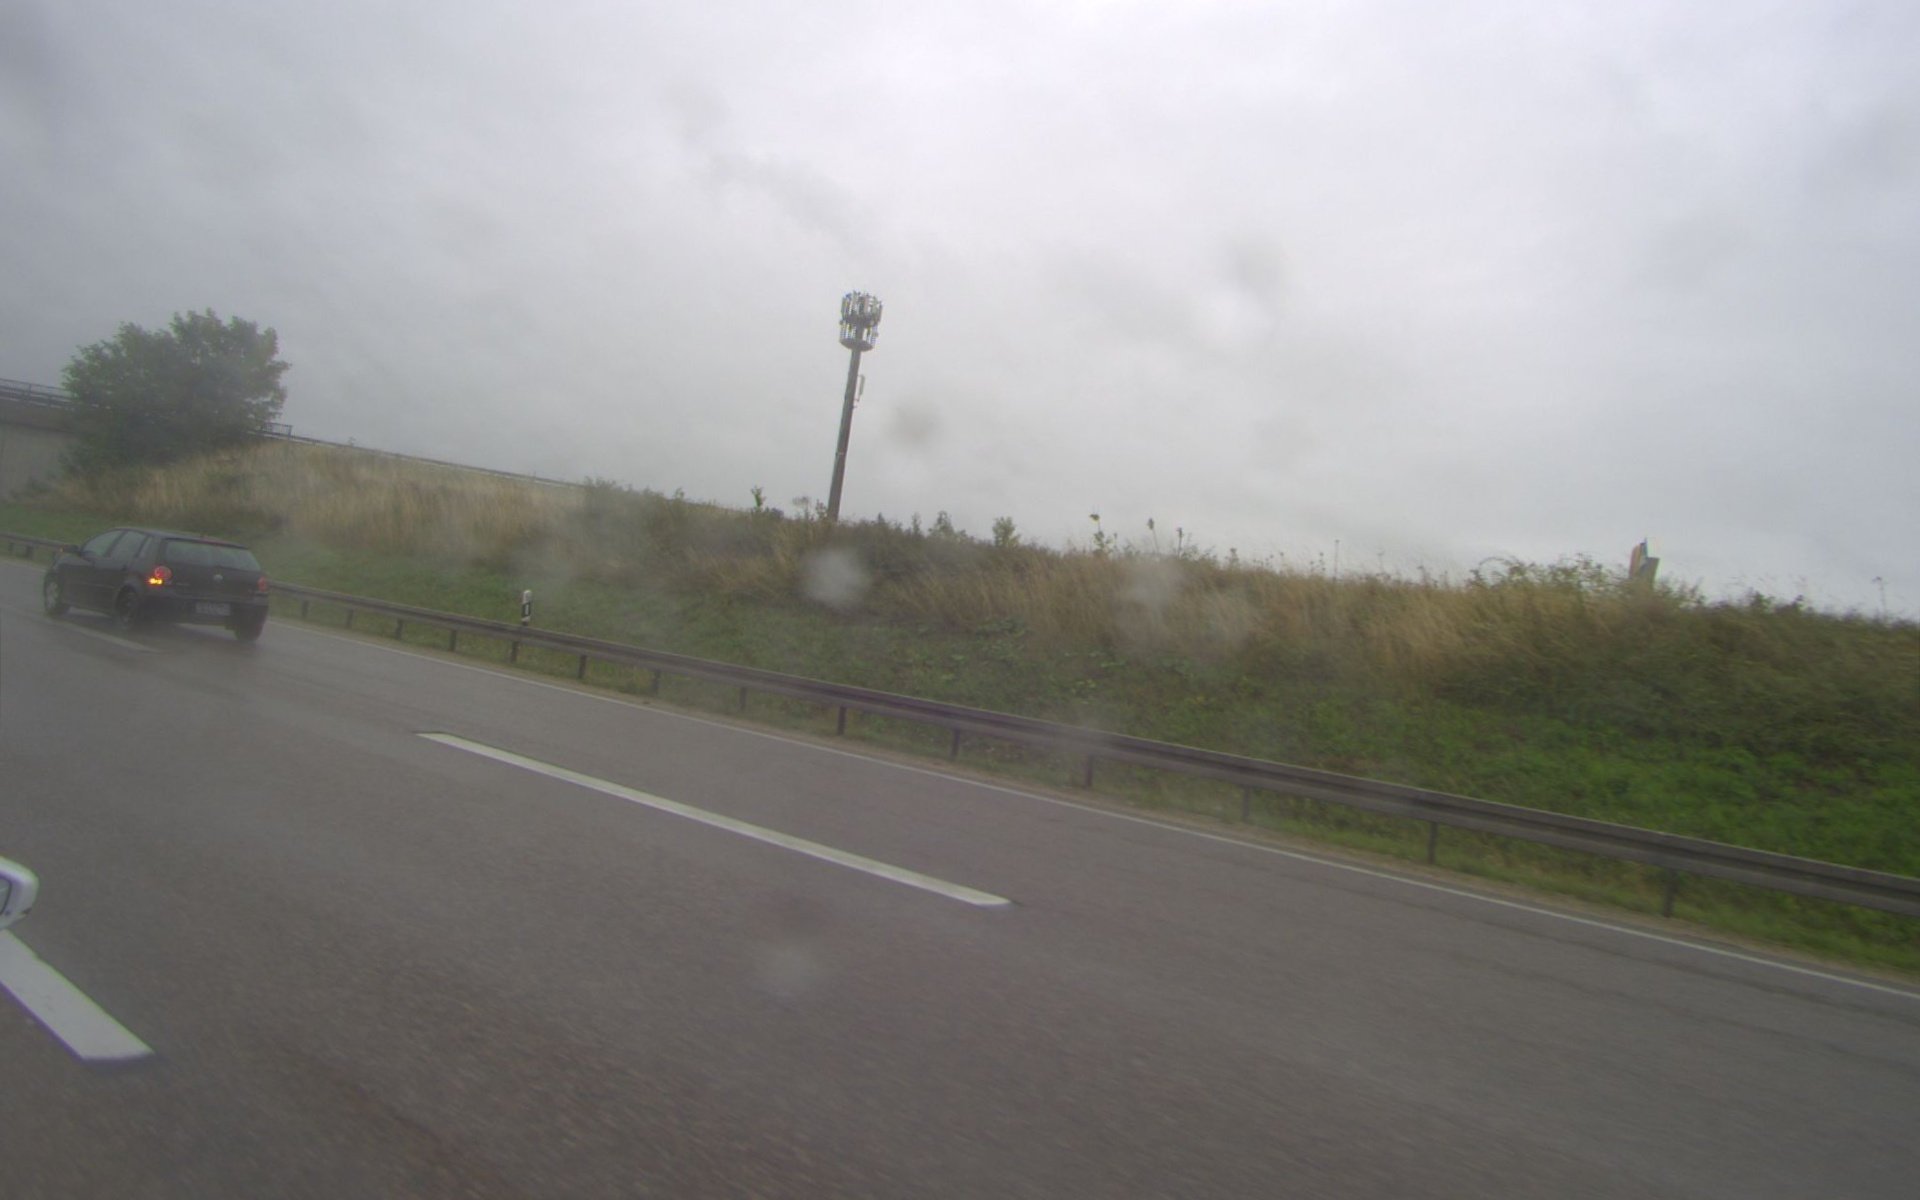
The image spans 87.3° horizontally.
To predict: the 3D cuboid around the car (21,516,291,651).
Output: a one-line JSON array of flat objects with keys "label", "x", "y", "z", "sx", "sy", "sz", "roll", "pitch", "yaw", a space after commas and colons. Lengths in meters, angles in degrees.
[{"label": "car", "x": -11.689, "y": -0.250, "z": 14.609, "sx": 3.595, "sy": 1.437, "sz": 1.736, "roll": 7, "pitch": -2, "yaw": 29}]
